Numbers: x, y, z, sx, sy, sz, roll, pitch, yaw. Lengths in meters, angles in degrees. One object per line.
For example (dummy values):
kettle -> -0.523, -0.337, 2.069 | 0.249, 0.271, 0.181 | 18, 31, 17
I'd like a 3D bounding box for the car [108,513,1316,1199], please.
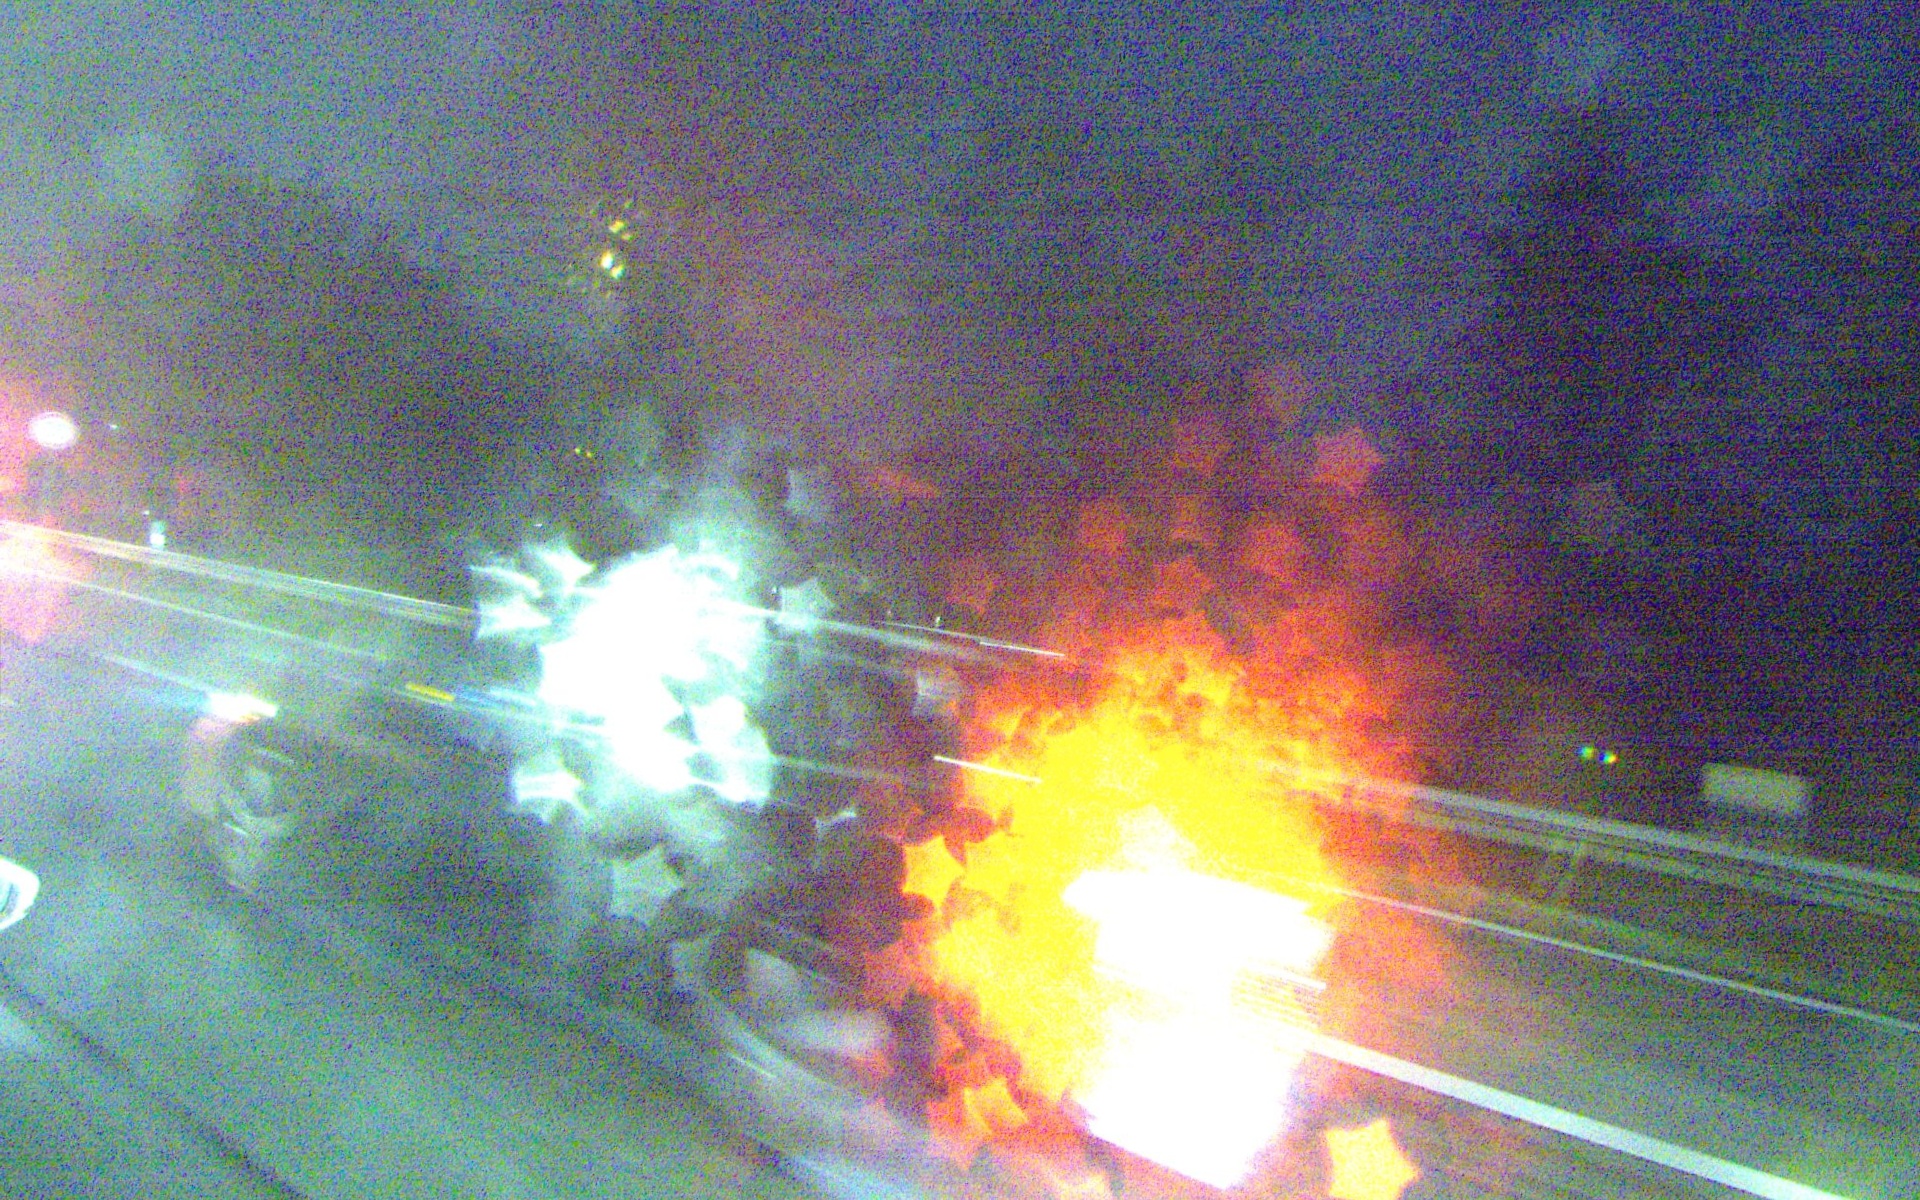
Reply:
car -> -1.213, 0.676, 4.042 | 4.643, 1.466, 1.736 | 7, -1, 29
